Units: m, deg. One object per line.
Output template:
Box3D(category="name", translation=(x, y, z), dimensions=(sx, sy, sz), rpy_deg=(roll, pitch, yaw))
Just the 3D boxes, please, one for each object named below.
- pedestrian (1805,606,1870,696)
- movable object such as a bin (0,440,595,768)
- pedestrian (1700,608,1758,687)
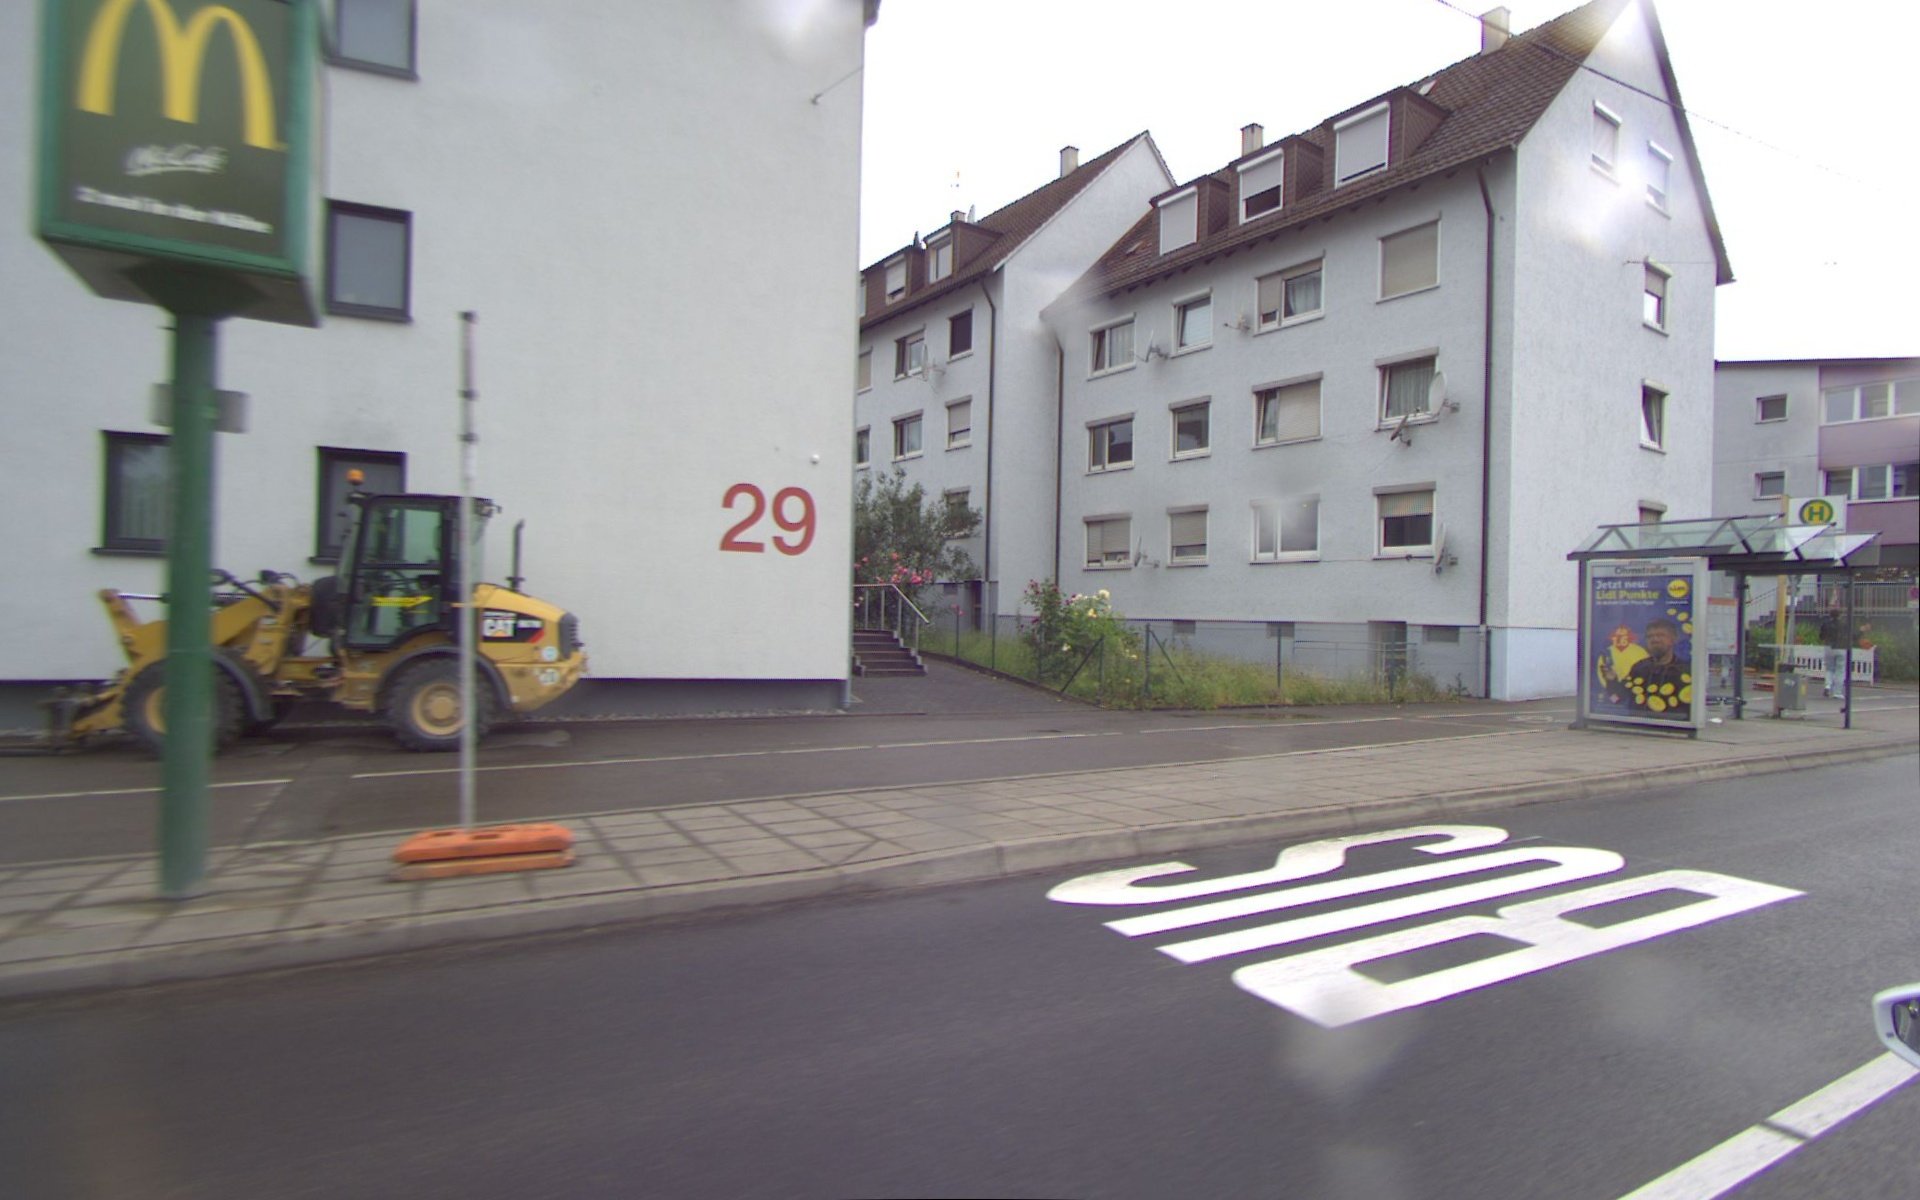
Box3D(category="pedestrian", translation=(19.157, 1.084, 21.934), dimensions=(1.034, 1.907, 0.855), rpy_deg=(1, -1, -36))
Box3D(category="movable object such as a bin", translation=(-6.462, 0.049, 10.541), dimensions=(4.903, 2.845, 2.126), rpy_deg=(1, 2, -21))
Box3D(category="pedestrian", translation=(18.756, 1.136, 24.494), dimensions=(1.105, 1.846, 0.800), rpy_deg=(1, 1, -35))
